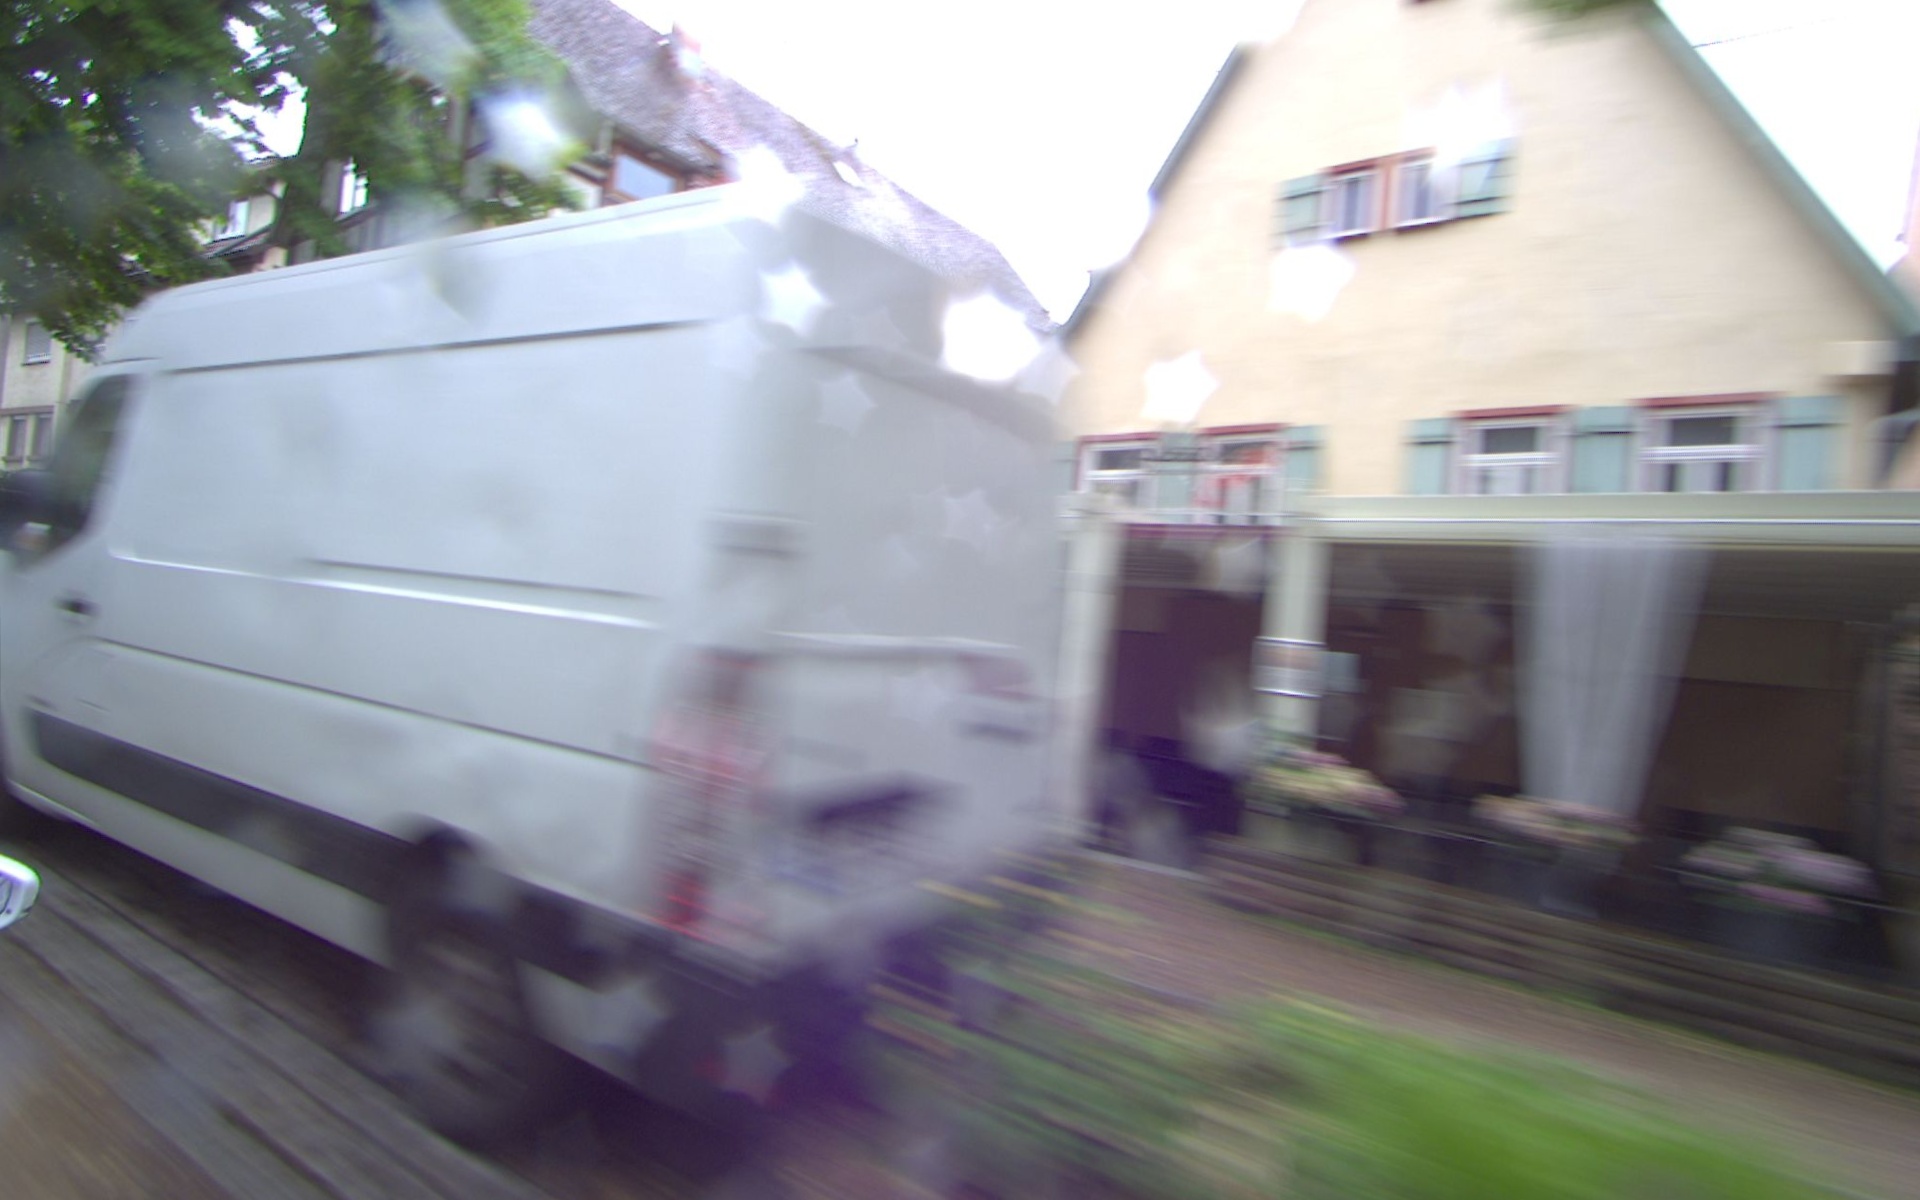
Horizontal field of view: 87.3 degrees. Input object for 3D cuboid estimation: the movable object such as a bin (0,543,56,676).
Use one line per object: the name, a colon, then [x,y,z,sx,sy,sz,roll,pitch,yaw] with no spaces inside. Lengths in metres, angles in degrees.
movable object such as a bin: [-8.505,0.044,8.673,0.864,1.088,0.749,7,-1,31]

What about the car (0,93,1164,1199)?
car: [-2.178,0.080,4.312,5.345,2.489,2.145,6,-1,32]
